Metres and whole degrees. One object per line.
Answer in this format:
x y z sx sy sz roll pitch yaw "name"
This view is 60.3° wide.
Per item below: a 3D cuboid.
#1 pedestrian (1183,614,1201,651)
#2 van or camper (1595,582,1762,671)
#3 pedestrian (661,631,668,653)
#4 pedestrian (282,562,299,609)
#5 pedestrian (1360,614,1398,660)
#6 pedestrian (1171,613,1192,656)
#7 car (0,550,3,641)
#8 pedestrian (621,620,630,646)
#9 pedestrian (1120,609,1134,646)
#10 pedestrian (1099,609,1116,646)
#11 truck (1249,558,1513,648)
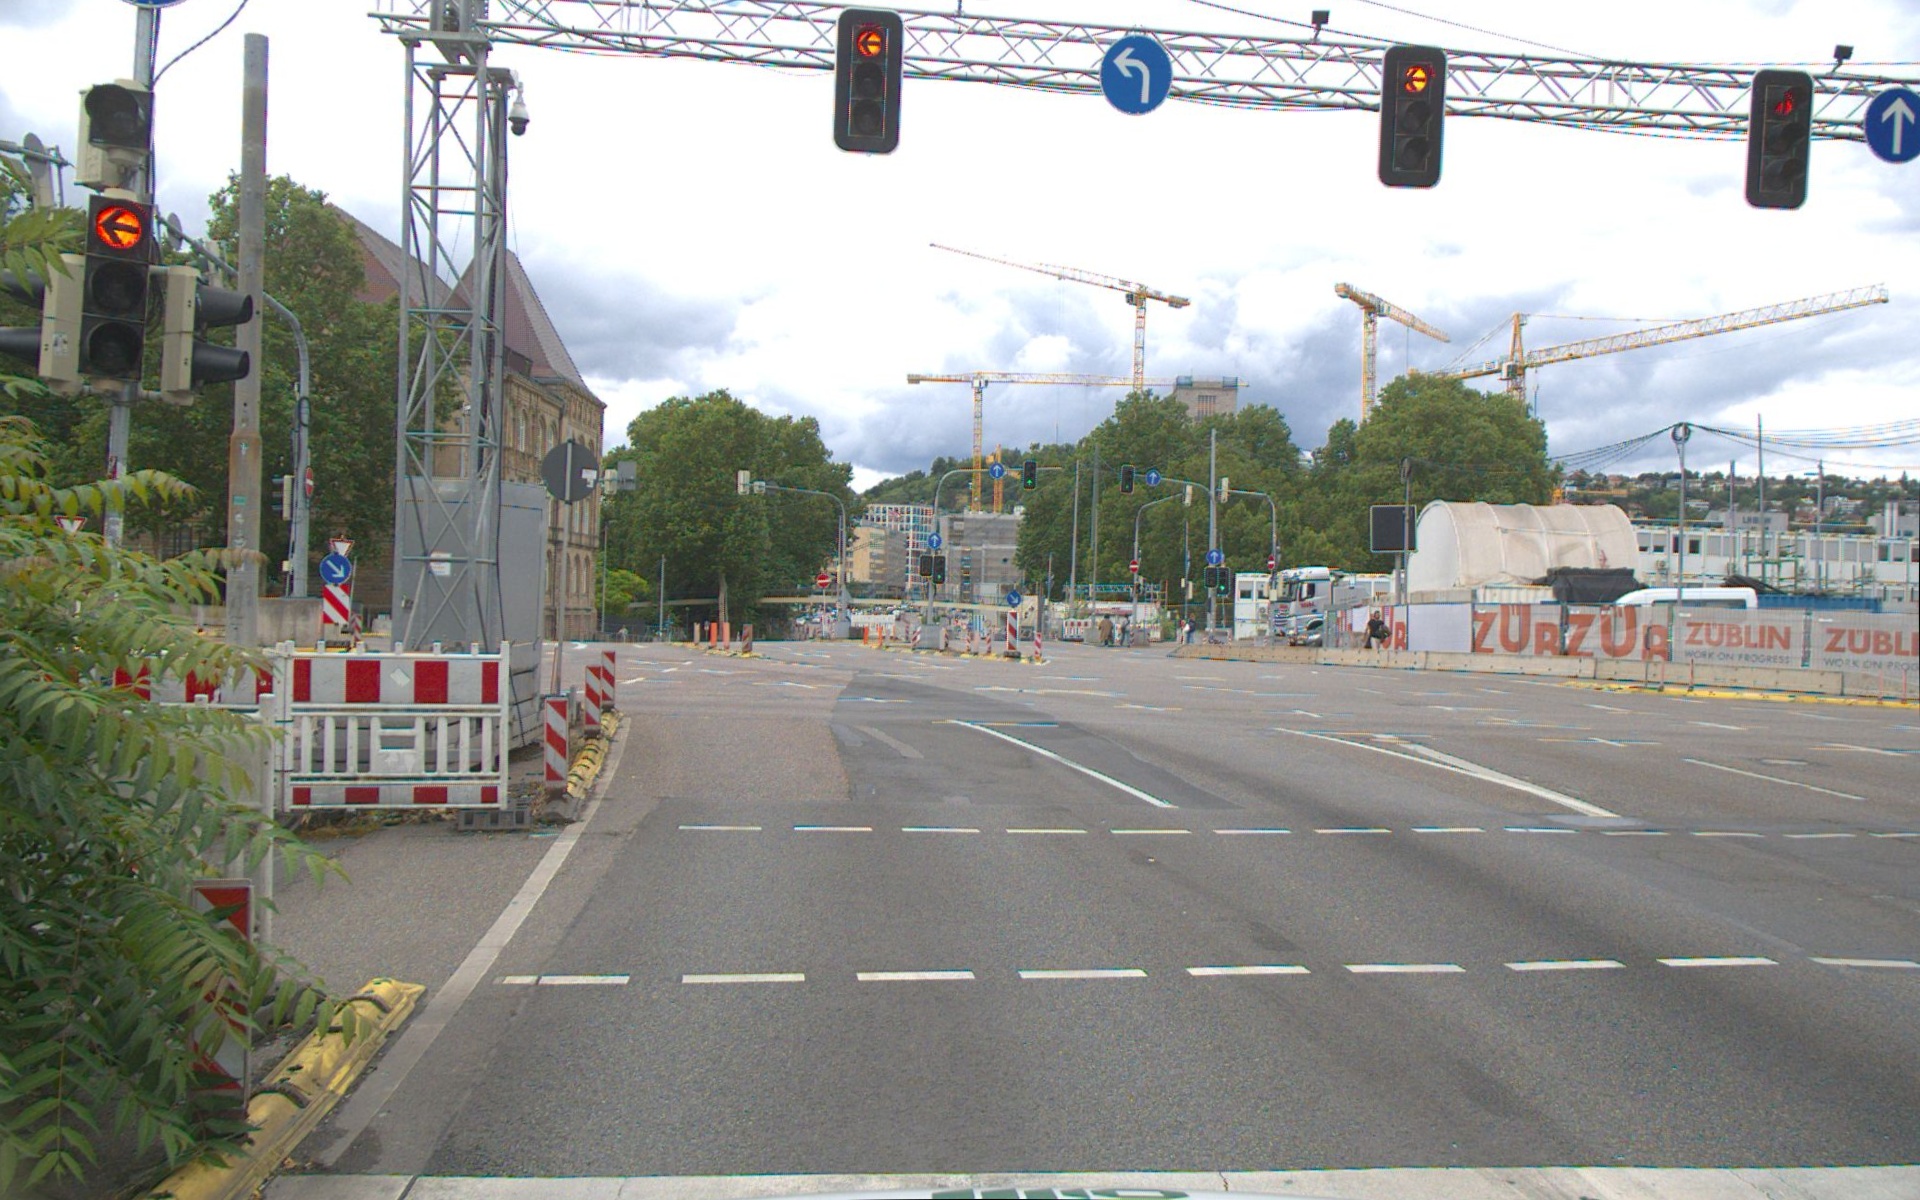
11.145 1.553 79.375 0.609 1.718 0.710 2 0 28 "pedestrian"
20.733 0.744 47.914 4.123 2.398 2.001 1 0 14 "van or camper"
-28.243 4.011 158.060 0.513 2.049 0.566 1 0 -1 "pedestrian"
-29.501 -0.620 72.860 0.523 2.049 0.421 2 0 -44 "pedestrian"
13.250 1.169 52.286 0.784 1.402 0.900 2 0 -17 "pedestrian"
9.071 1.418 67.672 0.714 1.718 0.677 2 0 -1 "pedestrian"
-19.704 -0.128 29.356 4.239 1.705 1.993 2 0 -14 "car"
-26.734 2.630 132.192 0.513 2.049 0.566 1 0 -1 "pedestrian"
7.890 1.311 78.250 0.555 1.718 0.471 2 0 -1 "pedestrian"
6.965 1.290 78.094 0.714 1.718 0.677 2 0 -1 "pedestrian"
21.005 0.165 82.323 12.837 4.111 3.927 1 0 -21 "truck"
